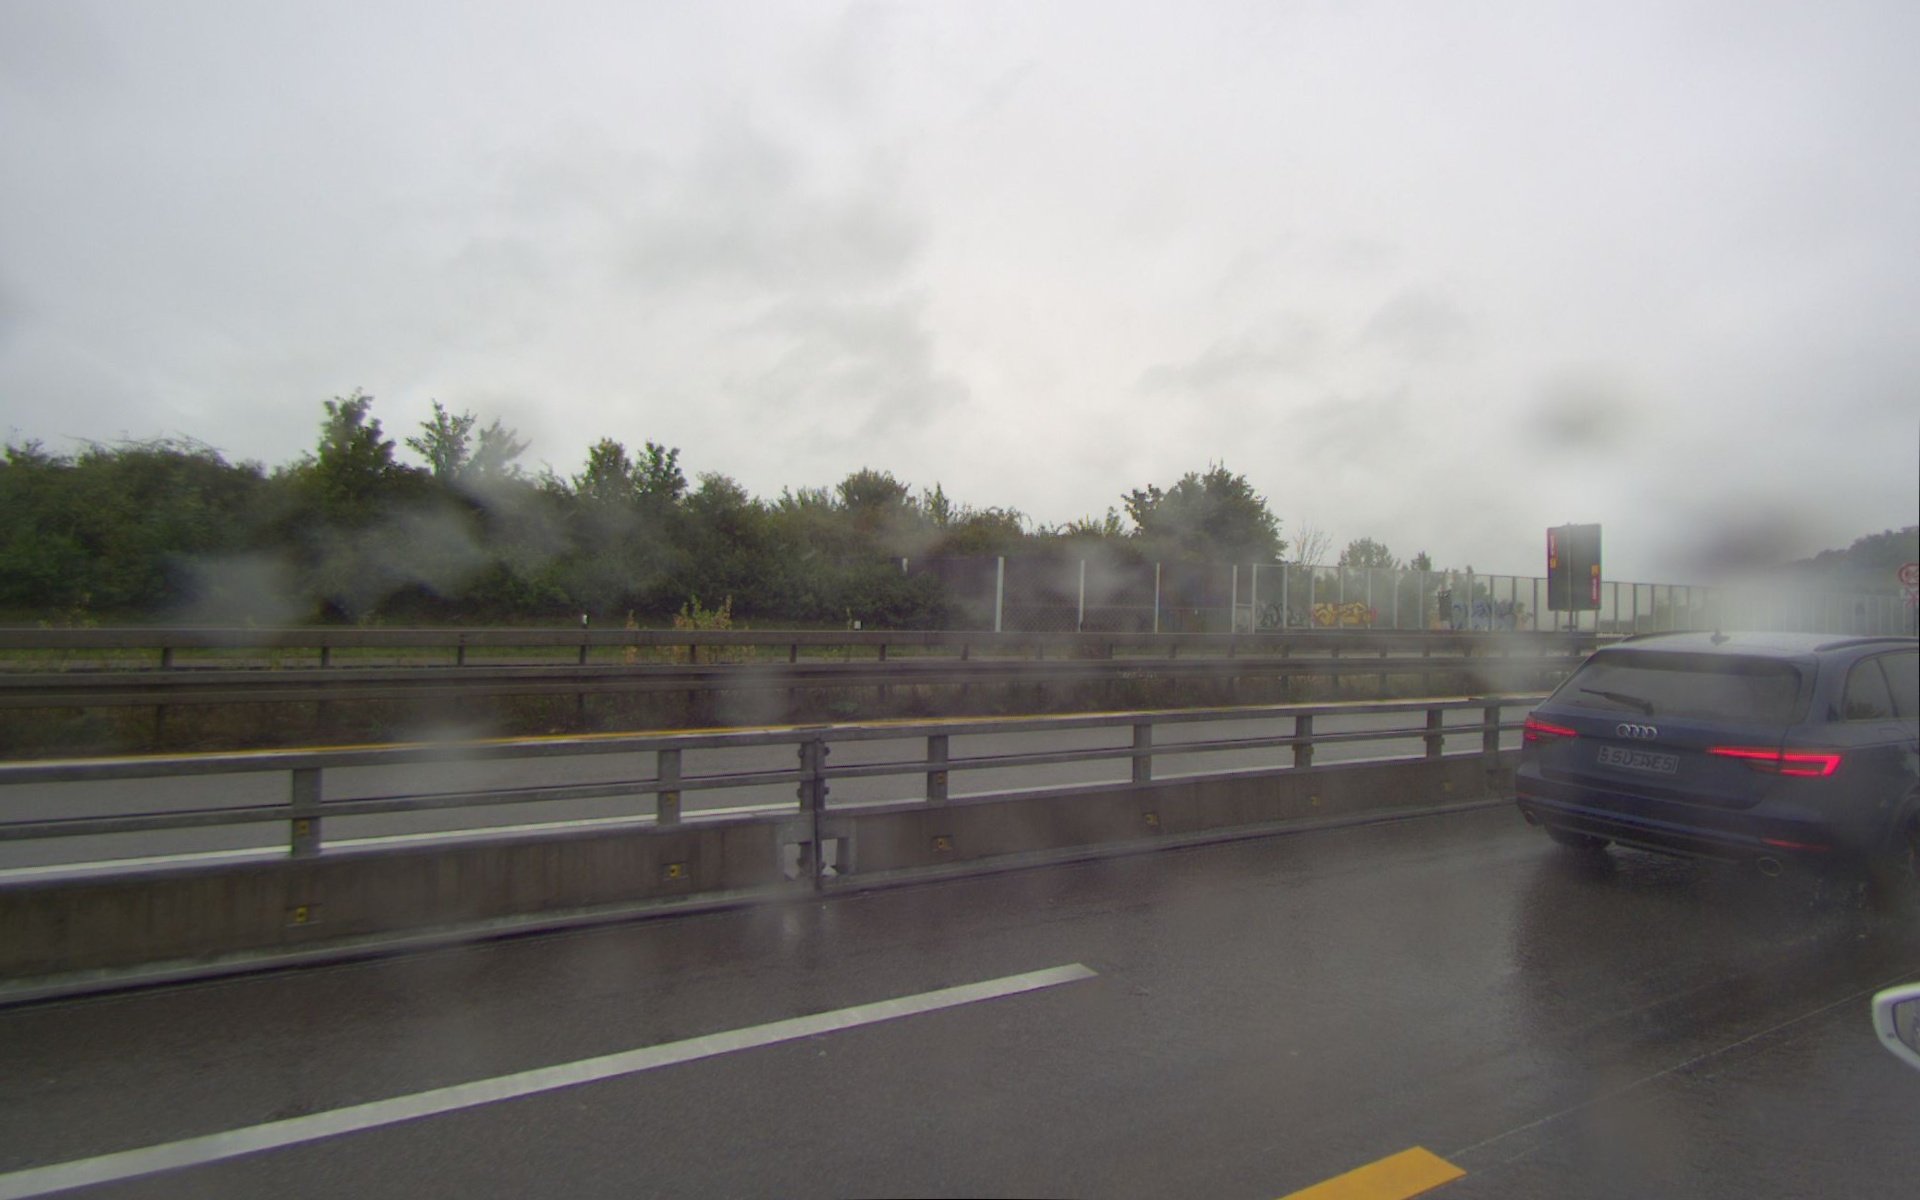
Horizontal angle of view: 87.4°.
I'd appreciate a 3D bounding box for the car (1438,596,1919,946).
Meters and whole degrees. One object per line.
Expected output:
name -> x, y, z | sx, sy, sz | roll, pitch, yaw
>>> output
car -> 5.403, 0.816, 6.437 | 4.576, 1.517, 1.984 | 2, 0, -30
